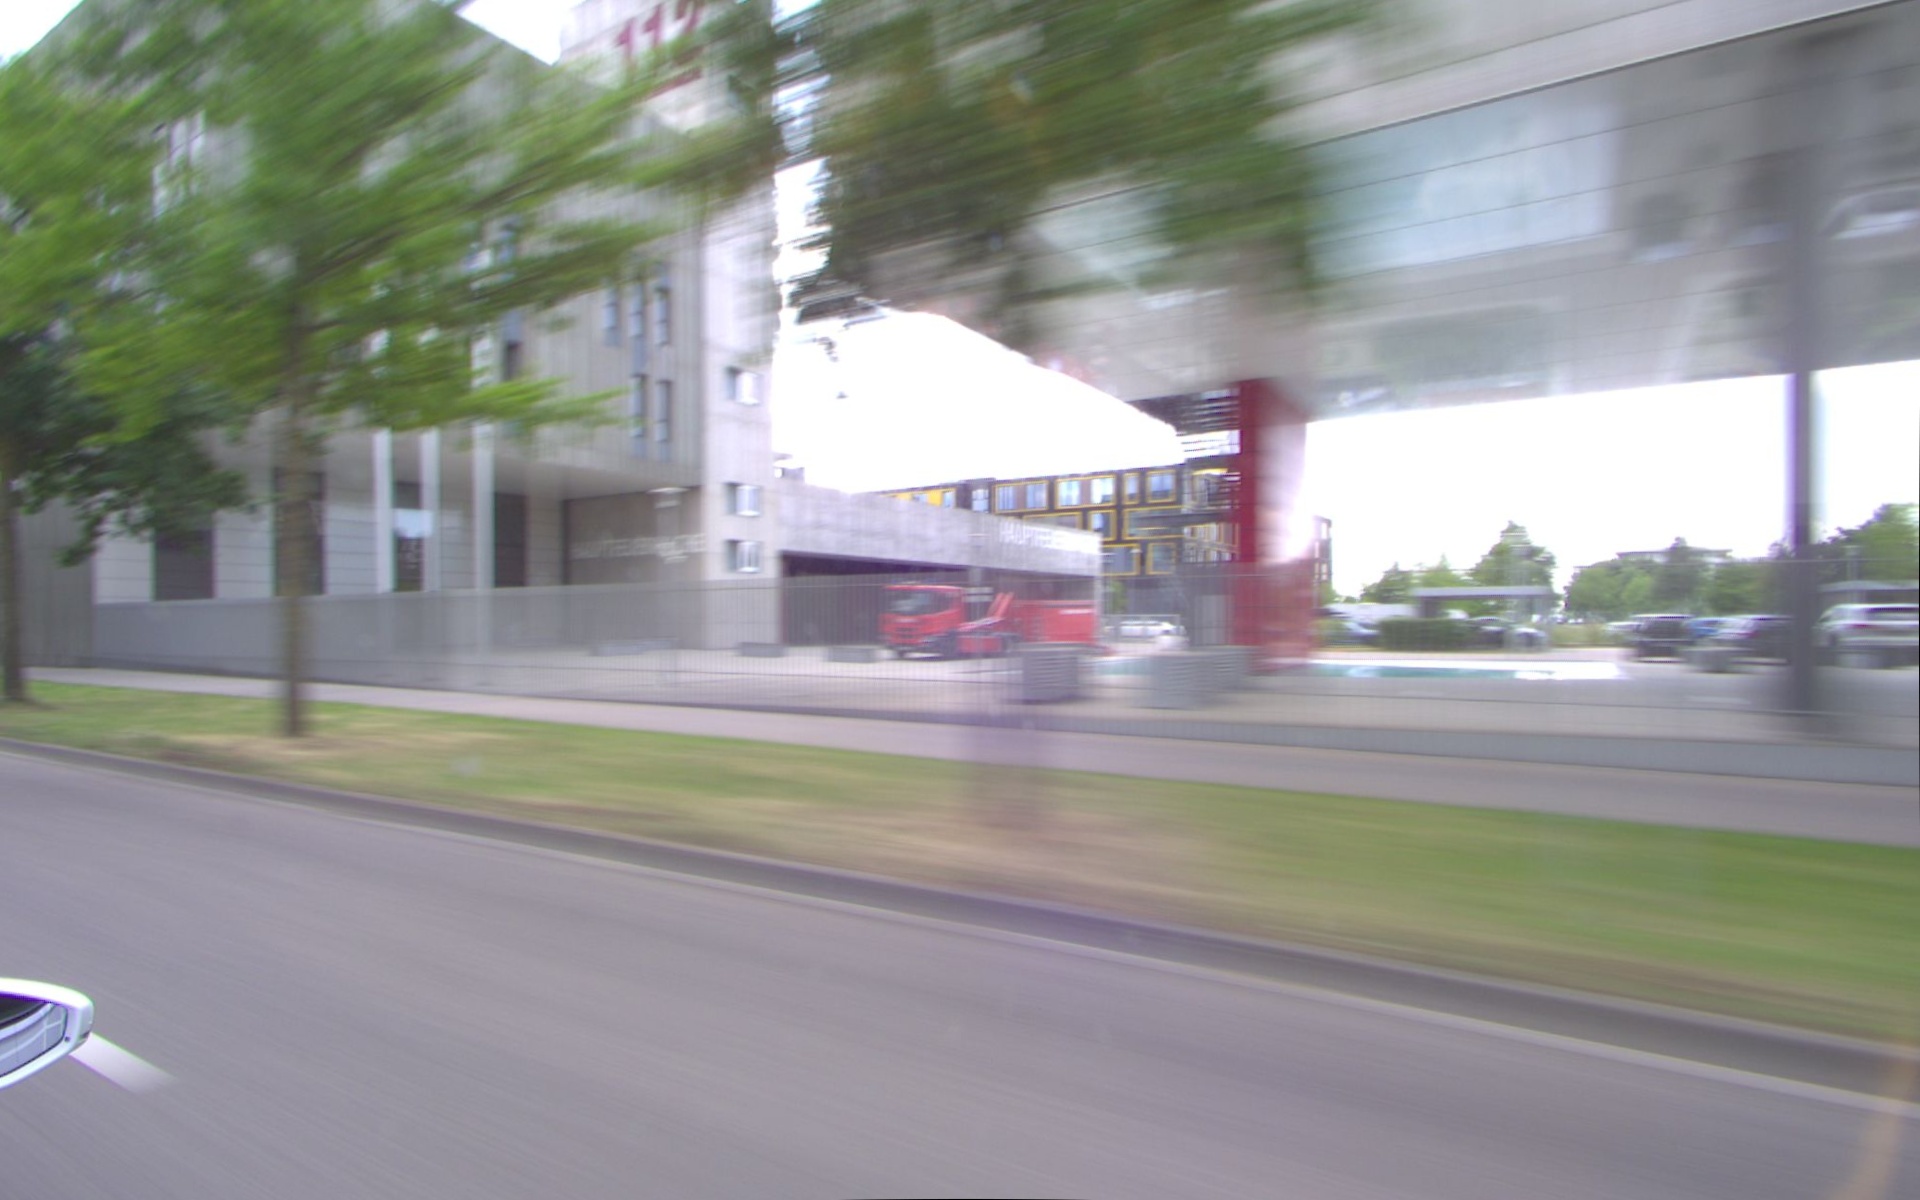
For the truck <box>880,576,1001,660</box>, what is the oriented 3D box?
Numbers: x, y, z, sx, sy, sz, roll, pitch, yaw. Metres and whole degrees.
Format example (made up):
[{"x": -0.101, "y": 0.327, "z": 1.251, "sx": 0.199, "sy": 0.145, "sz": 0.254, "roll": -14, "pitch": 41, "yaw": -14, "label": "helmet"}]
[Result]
[{"x": -0.674, "y": 0.839, "z": 40.254, "sx": 2.285, "sy": 3.107, "sz": 5.687, "roll": -2, "pitch": -3, "yaw": 30, "label": "truck"}]

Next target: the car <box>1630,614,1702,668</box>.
[{"x": 22.012, "y": 1.312, "z": 31.304, "sx": 1.646, "sy": 1.572, "sz": 3.300, "roll": -2, "pitch": -4, "yaw": 32, "label": "car"}]

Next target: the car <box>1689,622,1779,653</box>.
[{"x": 41.421, "y": 2.047, "z": 53.696, "sx": 3.621, "sy": 1.610, "sz": 1.862, "roll": -2, "pitch": -4, "yaw": 33, "label": "car"}]

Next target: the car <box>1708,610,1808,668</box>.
[{"x": 23.839, "y": 1.209, "z": 30.039, "sx": 1.845, "sy": 1.610, "sz": 3.655, "roll": -2, "pitch": -4, "yaw": 31, "label": "car"}]

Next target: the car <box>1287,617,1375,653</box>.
[{"x": 20.565, "y": 1.981, "z": 55.535, "sx": 4.255, "sy": 1.895, "sz": 1.990, "roll": -2, "pitch": -4, "yaw": 34, "label": "car"}]

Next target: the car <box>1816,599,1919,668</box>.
[{"x": 26.427, "y": 1.015, "z": 28.822, "sx": 1.971, "sy": 1.824, "sz": 4.295, "roll": -2, "pitch": -4, "yaw": 31, "label": "car"}]

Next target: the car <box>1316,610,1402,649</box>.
[{"x": 22.760, "y": 1.702, "z": 57.122, "sx": 4.254, "sy": 2.110, "sz": 1.990, "roll": -1, "pitch": -3, "yaw": 34, "label": "car"}]
